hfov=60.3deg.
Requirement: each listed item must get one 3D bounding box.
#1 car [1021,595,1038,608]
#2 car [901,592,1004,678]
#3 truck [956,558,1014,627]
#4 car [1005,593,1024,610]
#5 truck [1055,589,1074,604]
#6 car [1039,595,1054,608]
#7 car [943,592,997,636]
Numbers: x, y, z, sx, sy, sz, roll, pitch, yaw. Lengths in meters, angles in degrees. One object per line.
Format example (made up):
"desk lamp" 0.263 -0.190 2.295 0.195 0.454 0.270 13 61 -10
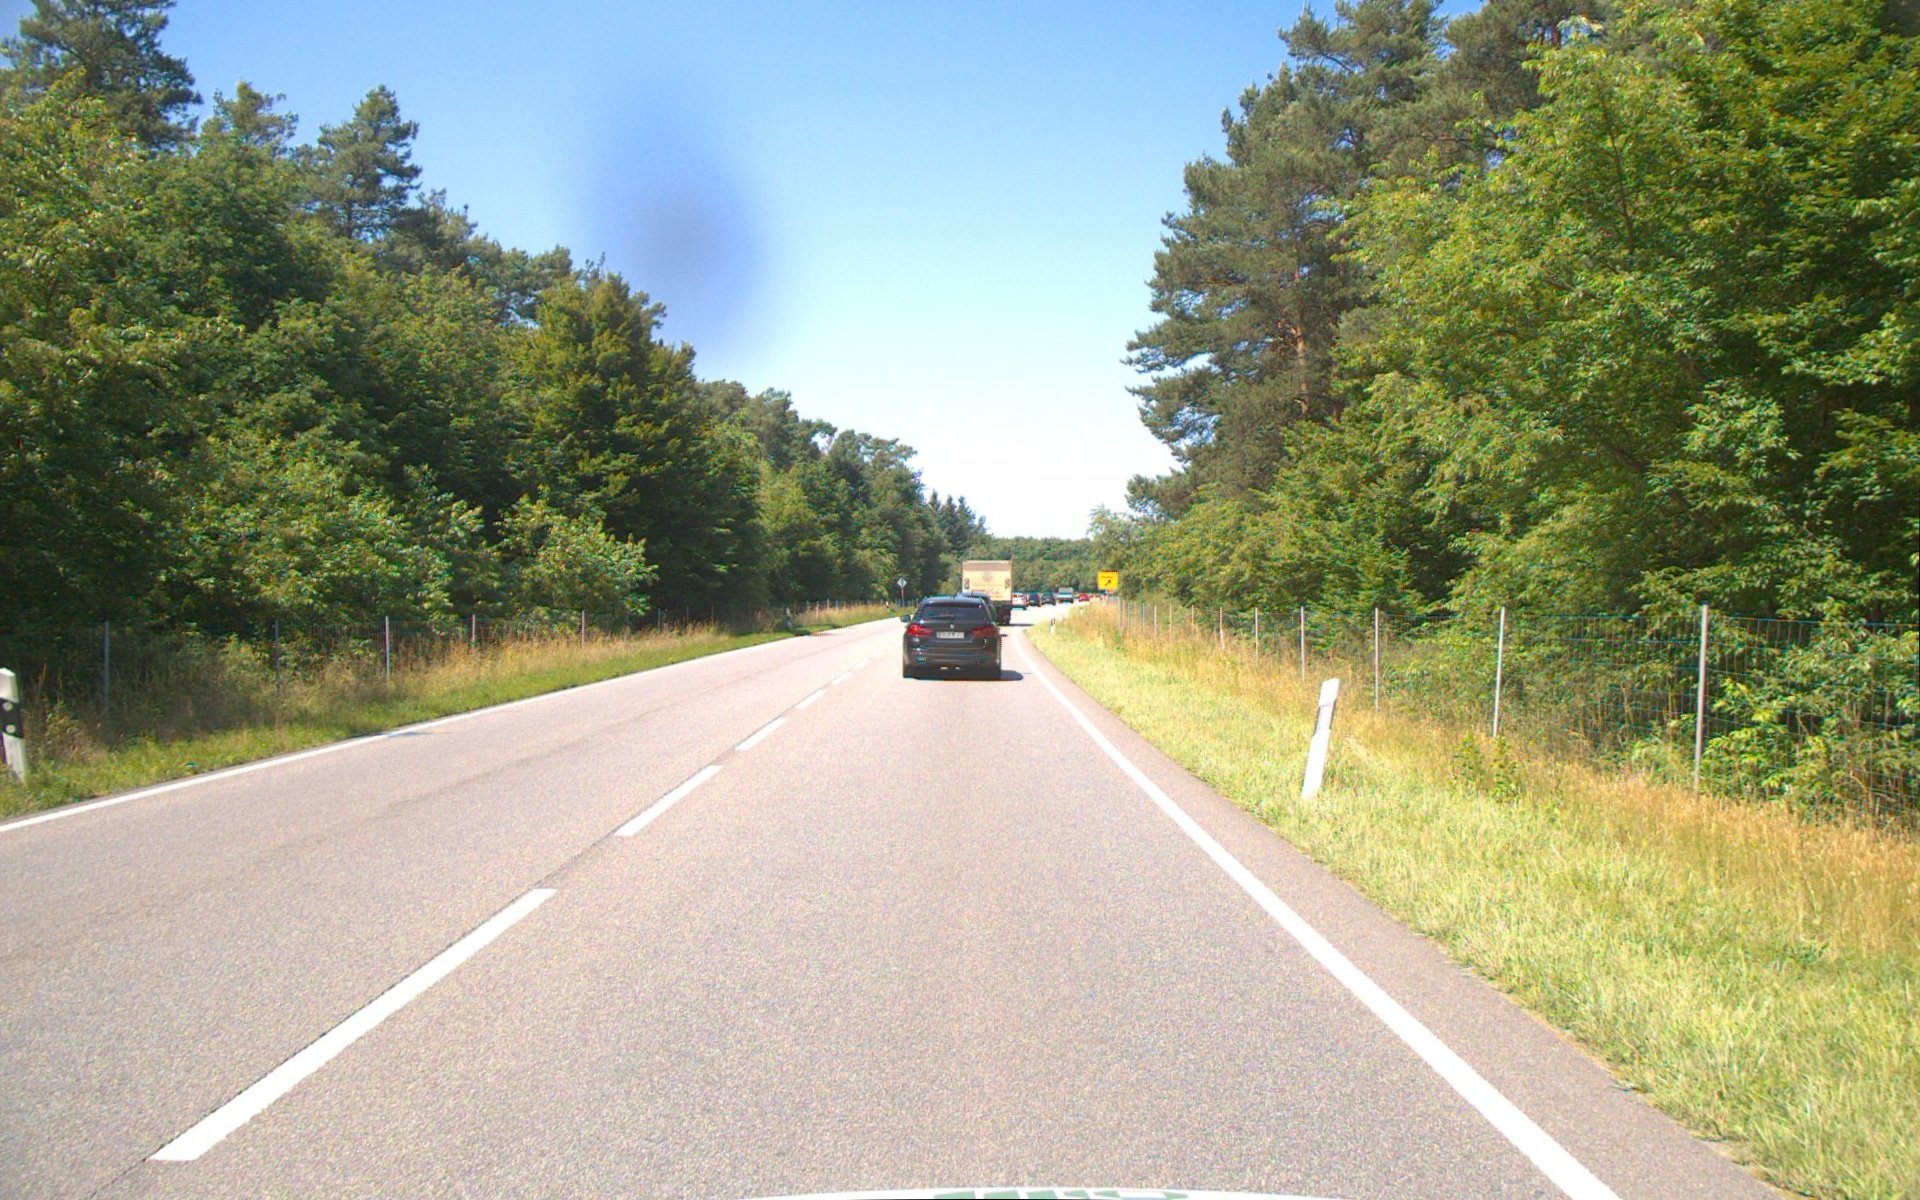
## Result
"car" 8.319 0.149 197.024 1.951 1.445 4.002 1 0 4
"car" -0.210 0.613 31.388 1.784 1.496 3.998 -1 0 -3
"truck" 1.315 -0.399 85.981 2.904 3.447 6.439 0 0 1
"car" 5.412 0.150 165.050 1.825 1.633 4.000 1 0 0
"truck" 15.714 -0.527 248.708 2.511 2.241 4.974 0 0 0
"car" 11.536 0.153 219.922 1.952 1.665 4.001 -1 0 2
"car" 0.335 0.514 63.165 1.908 1.568 3.999 -1 0 -1
